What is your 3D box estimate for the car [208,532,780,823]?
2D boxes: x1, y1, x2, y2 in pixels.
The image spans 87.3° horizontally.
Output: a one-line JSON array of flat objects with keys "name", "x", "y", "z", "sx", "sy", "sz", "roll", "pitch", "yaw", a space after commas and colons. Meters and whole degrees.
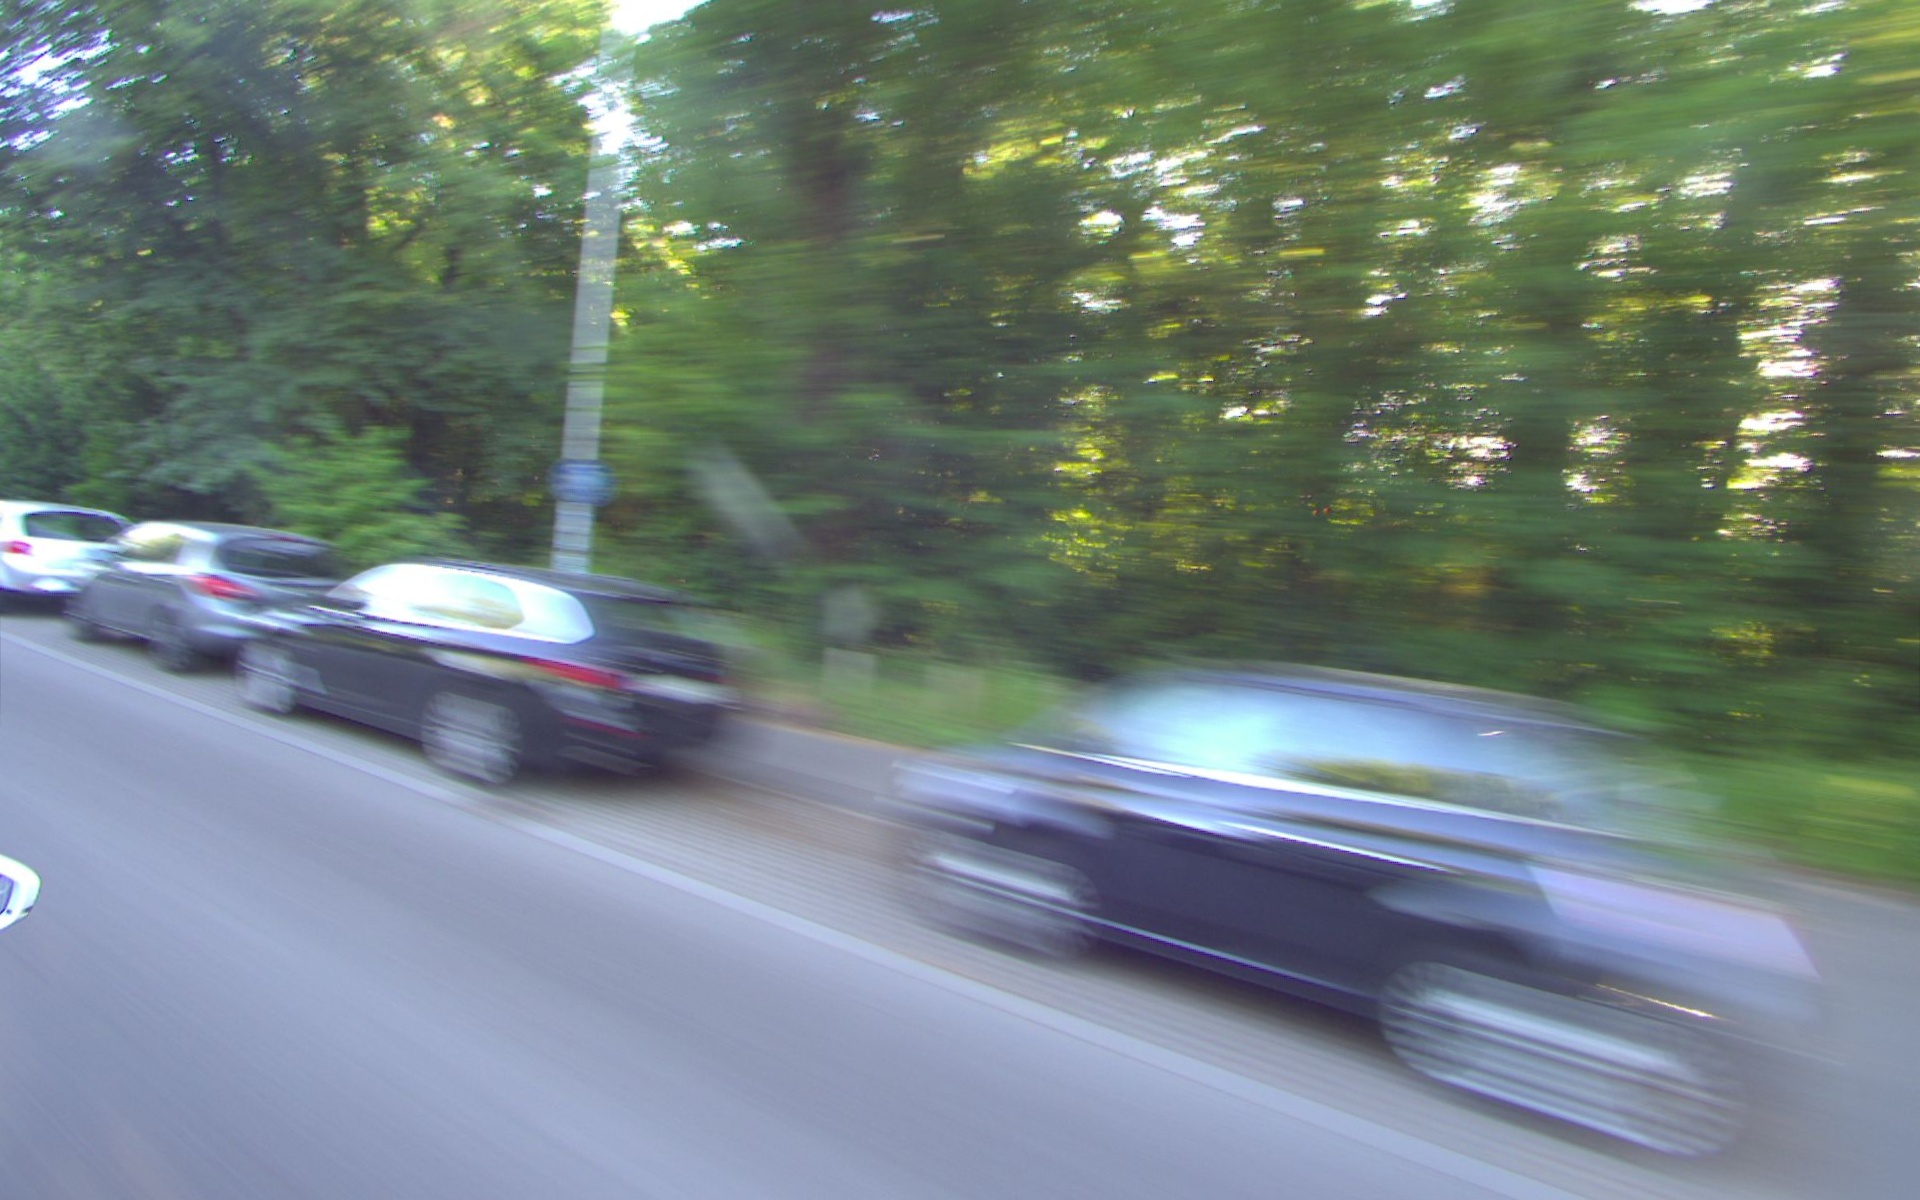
[{"name": "car", "x": -3.926, "y": 0.428, "z": 8.107, "sx": 4.906, "sy": 1.487, "sz": 1.719, "roll": 6, "pitch": 1, "yaw": 32}]

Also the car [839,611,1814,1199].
[{"name": "car", "x": 1.456, "y": 1.015, "z": 4.841, "sx": 3.695, "sy": 1.487, "sz": 1.719, "roll": 6, "pitch": 1, "yaw": 32}]

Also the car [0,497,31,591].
[{"name": "car", "x": -16.965, "y": -1.107, "z": 16.275, "sx": 4.414, "sy": 1.429, "sz": 1.719, "roll": 6, "pitch": 1, "yaw": 32}]

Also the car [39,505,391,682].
[{"name": "car", "x": -8.398, "y": -0.118, "z": 11.242, "sx": 4.133, "sy": 1.487, "sz": 1.719, "roll": 6, "pitch": 1, "yaw": 32}]

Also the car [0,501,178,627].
[{"name": "car", "x": -12.743, "y": -0.586, "z": 13.905, "sx": 4.056, "sy": 1.429, "sz": 1.719, "roll": 6, "pitch": 1, "yaw": 32}]
